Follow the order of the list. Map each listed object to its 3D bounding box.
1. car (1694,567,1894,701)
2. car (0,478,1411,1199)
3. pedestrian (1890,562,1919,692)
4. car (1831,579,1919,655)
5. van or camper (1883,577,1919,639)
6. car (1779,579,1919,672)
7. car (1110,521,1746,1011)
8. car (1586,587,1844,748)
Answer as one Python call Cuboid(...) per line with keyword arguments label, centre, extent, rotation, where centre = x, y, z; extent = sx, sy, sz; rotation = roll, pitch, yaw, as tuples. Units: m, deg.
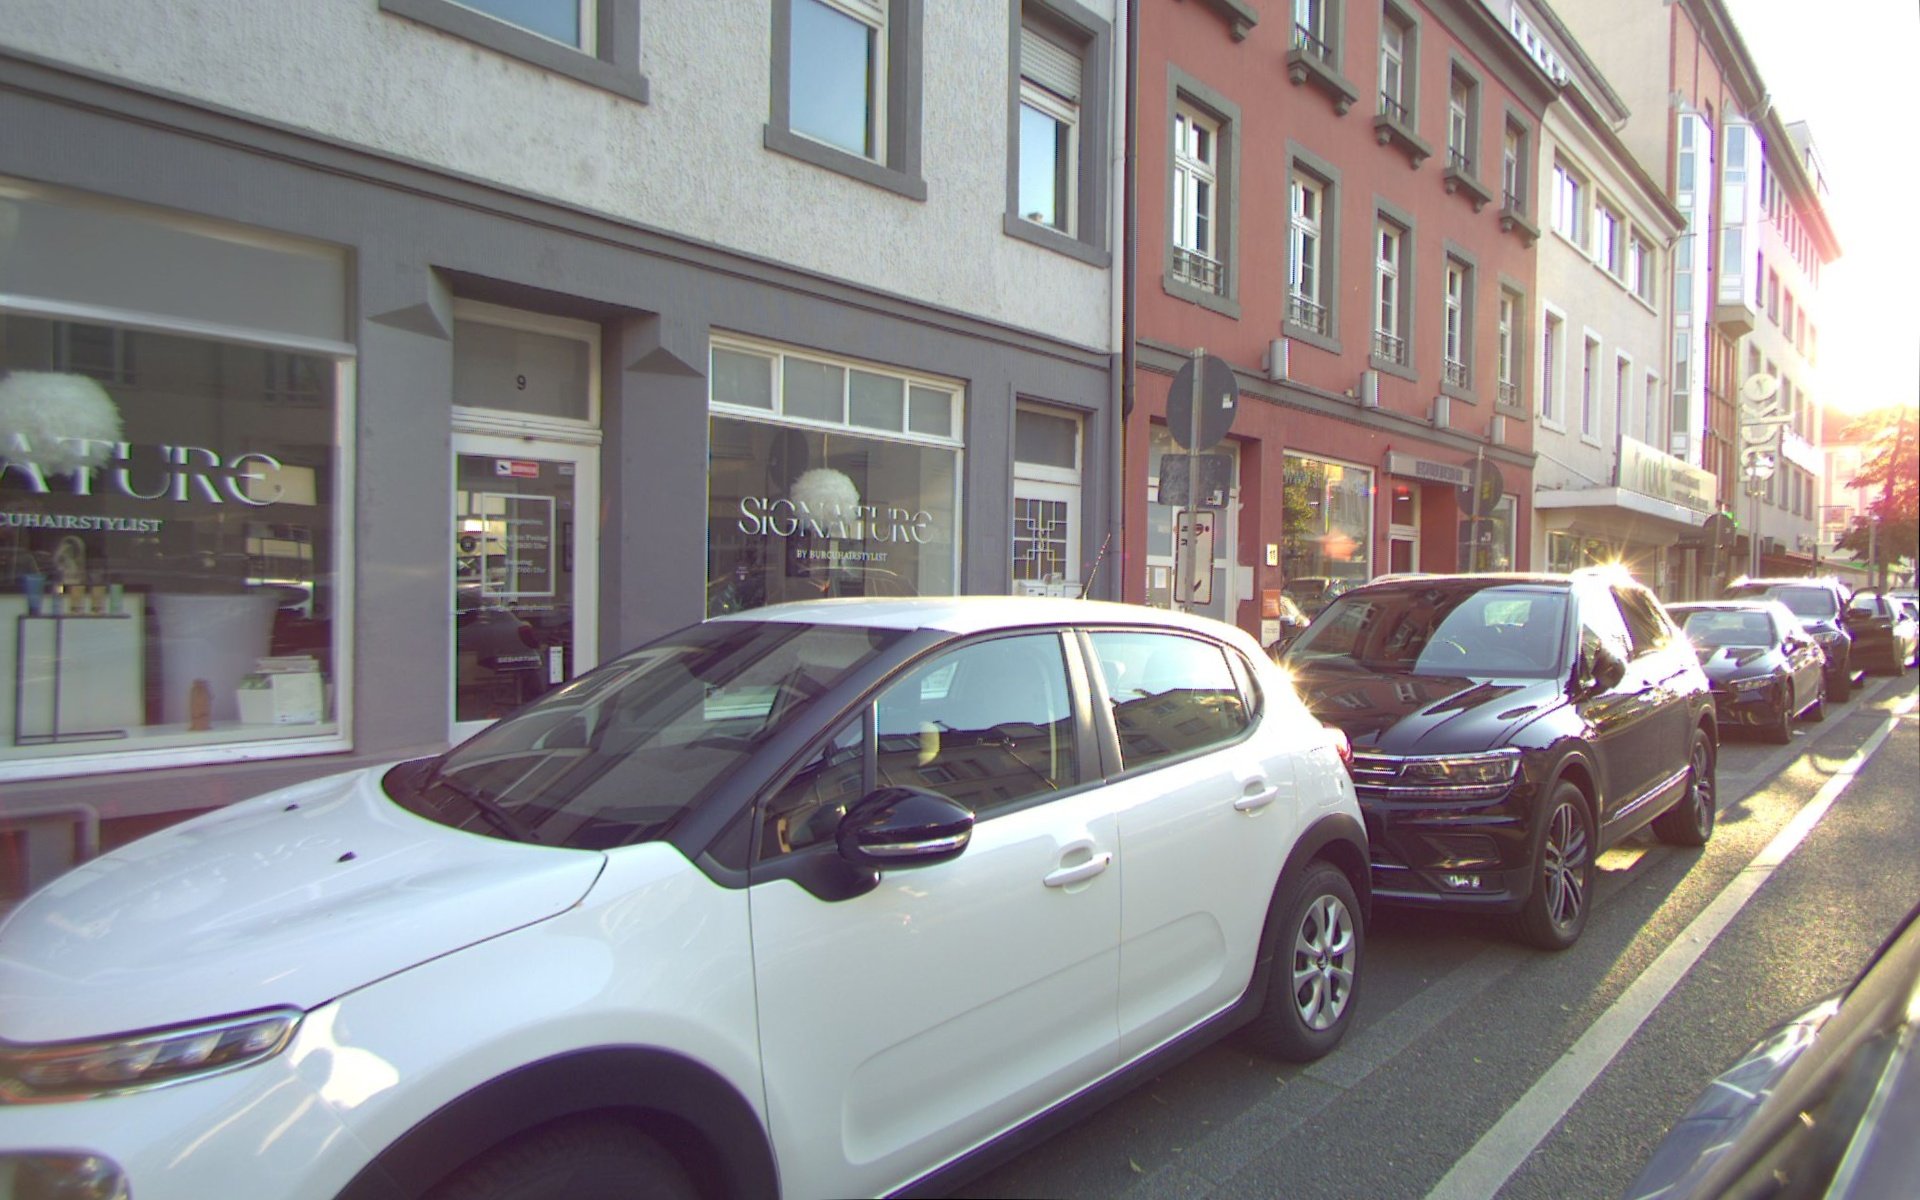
Cuboid(label="car", centre=(13.430, 0.423, 16.158), extent=(1.994, 1.799, 5.233), rotation=(1, 1, 45))
Cuboid(label="car", centre=(-0.421, 0.644, 2.827), extent=(3.868, 1.593, 1.664), rotation=(-1, 0, -42))
Cuboid(label="pedestrian", centre=(14.102, 0.388, 14.945), extent=(0.483, 1.881, 0.532), rotation=(1, 1, 39))
Cuboid(label="car", centre=(22.711, 0.360, 24.520), extent=(4.406, 1.675, 1.996), rotation=(-1, 2, -44))
Cuboid(label="van or camper", centre=(29.734, 0.223, 30.907), extent=(4.479, 1.796, 1.791), rotation=(-1, 2, -41))
Cuboid(label="car", centre=(18.313, 0.422, 20.523), extent=(4.549, 1.676, 1.996), rotation=(-1, 1, -42))
Cuboid(label="car", centre=(2.921, 0.564, 5.732), extent=(4.386, 1.720, 1.795), rotation=(-1, 0, -44))
Cuboid(label="car", centre=(8.842, 0.635, 11.702), extent=(4.338, 1.507, 1.686), rotation=(-1, -1, -44))
